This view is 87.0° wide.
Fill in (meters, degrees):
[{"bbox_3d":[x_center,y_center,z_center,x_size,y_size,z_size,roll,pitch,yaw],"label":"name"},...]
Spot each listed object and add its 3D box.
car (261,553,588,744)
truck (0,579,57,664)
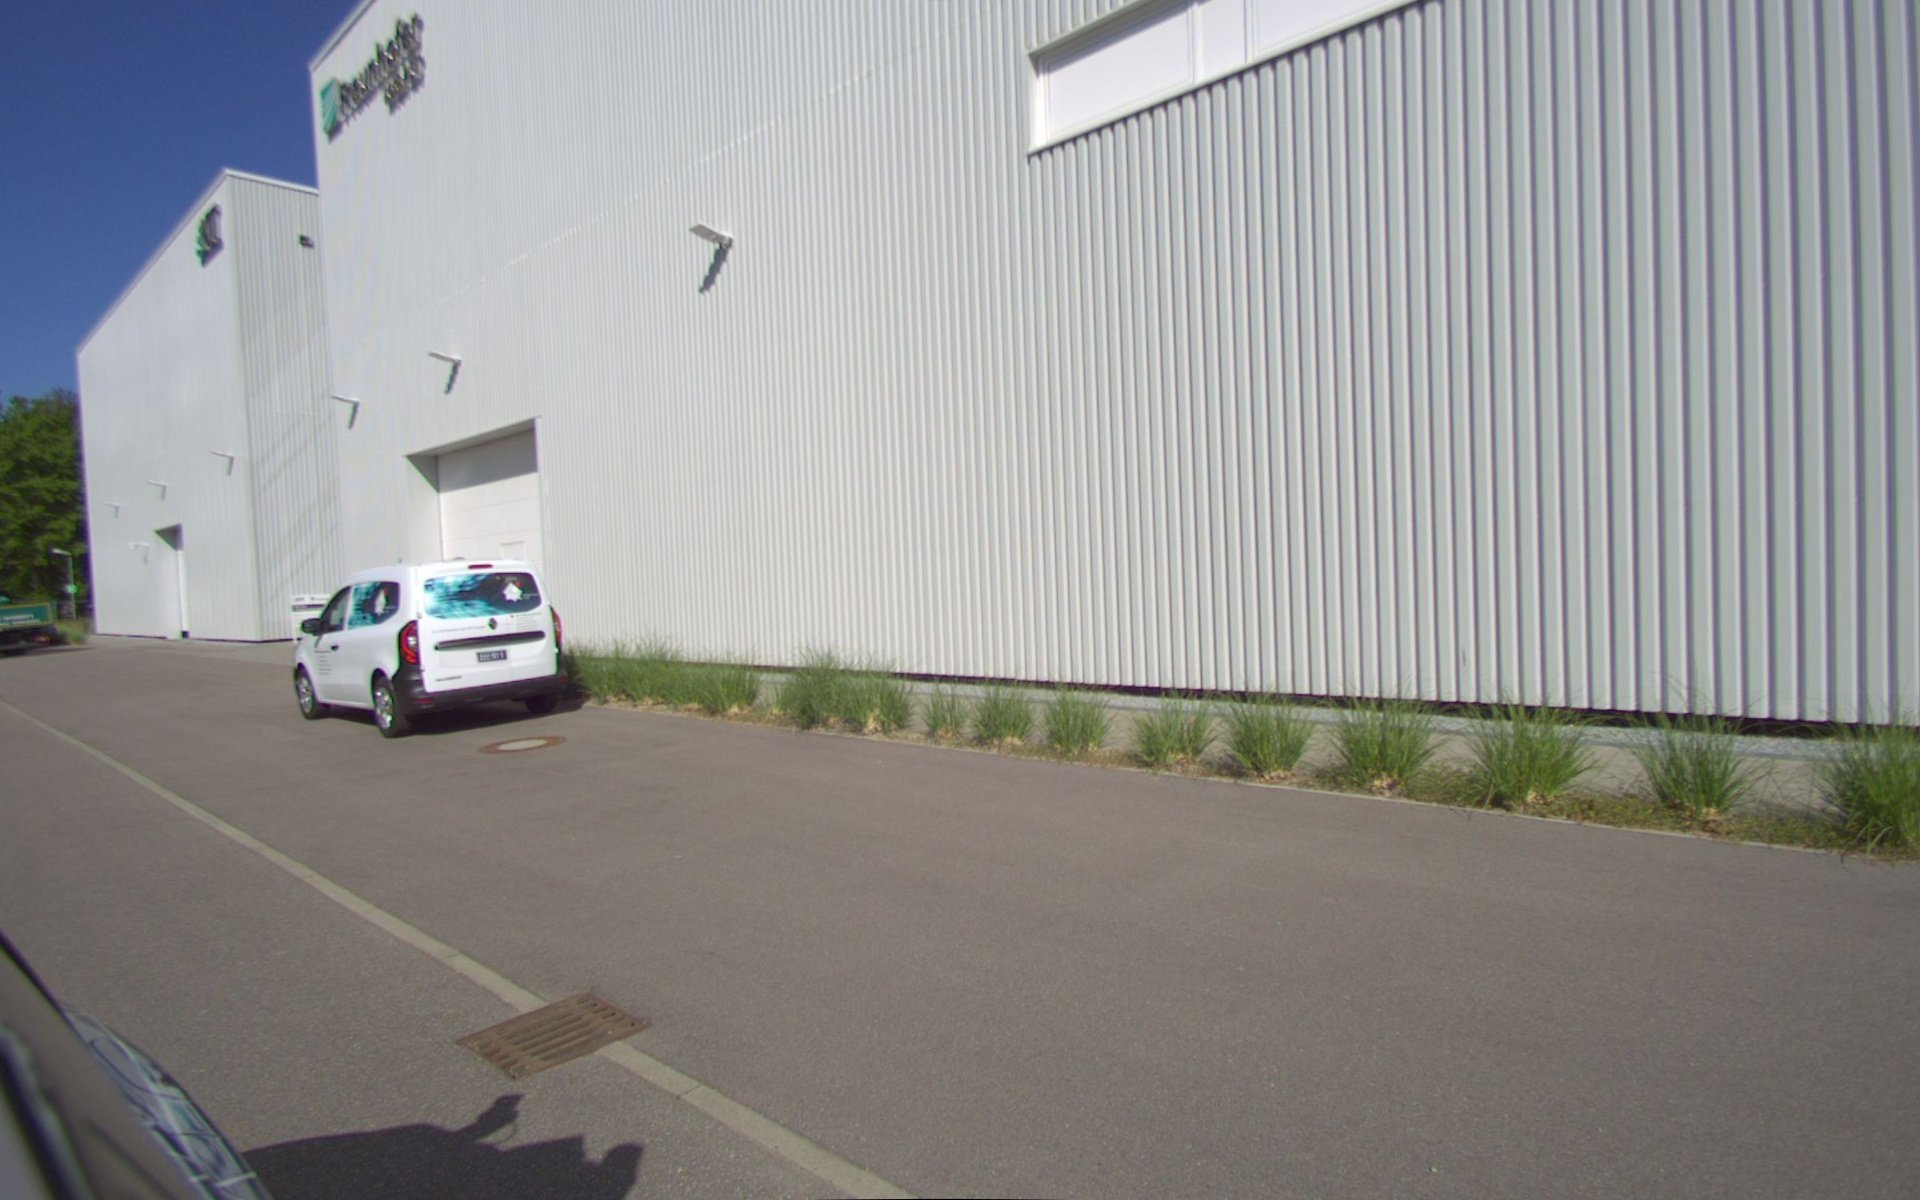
[{"bbox_3d":[-6.528,0.482,12.100,4.596,1.803,1.908,-1,3,42],"label":"car"},{"bbox_3d":[-35.856,0.908,35.919,9.655,2.736,2.564,-2,3,30],"label":"truck"}]
